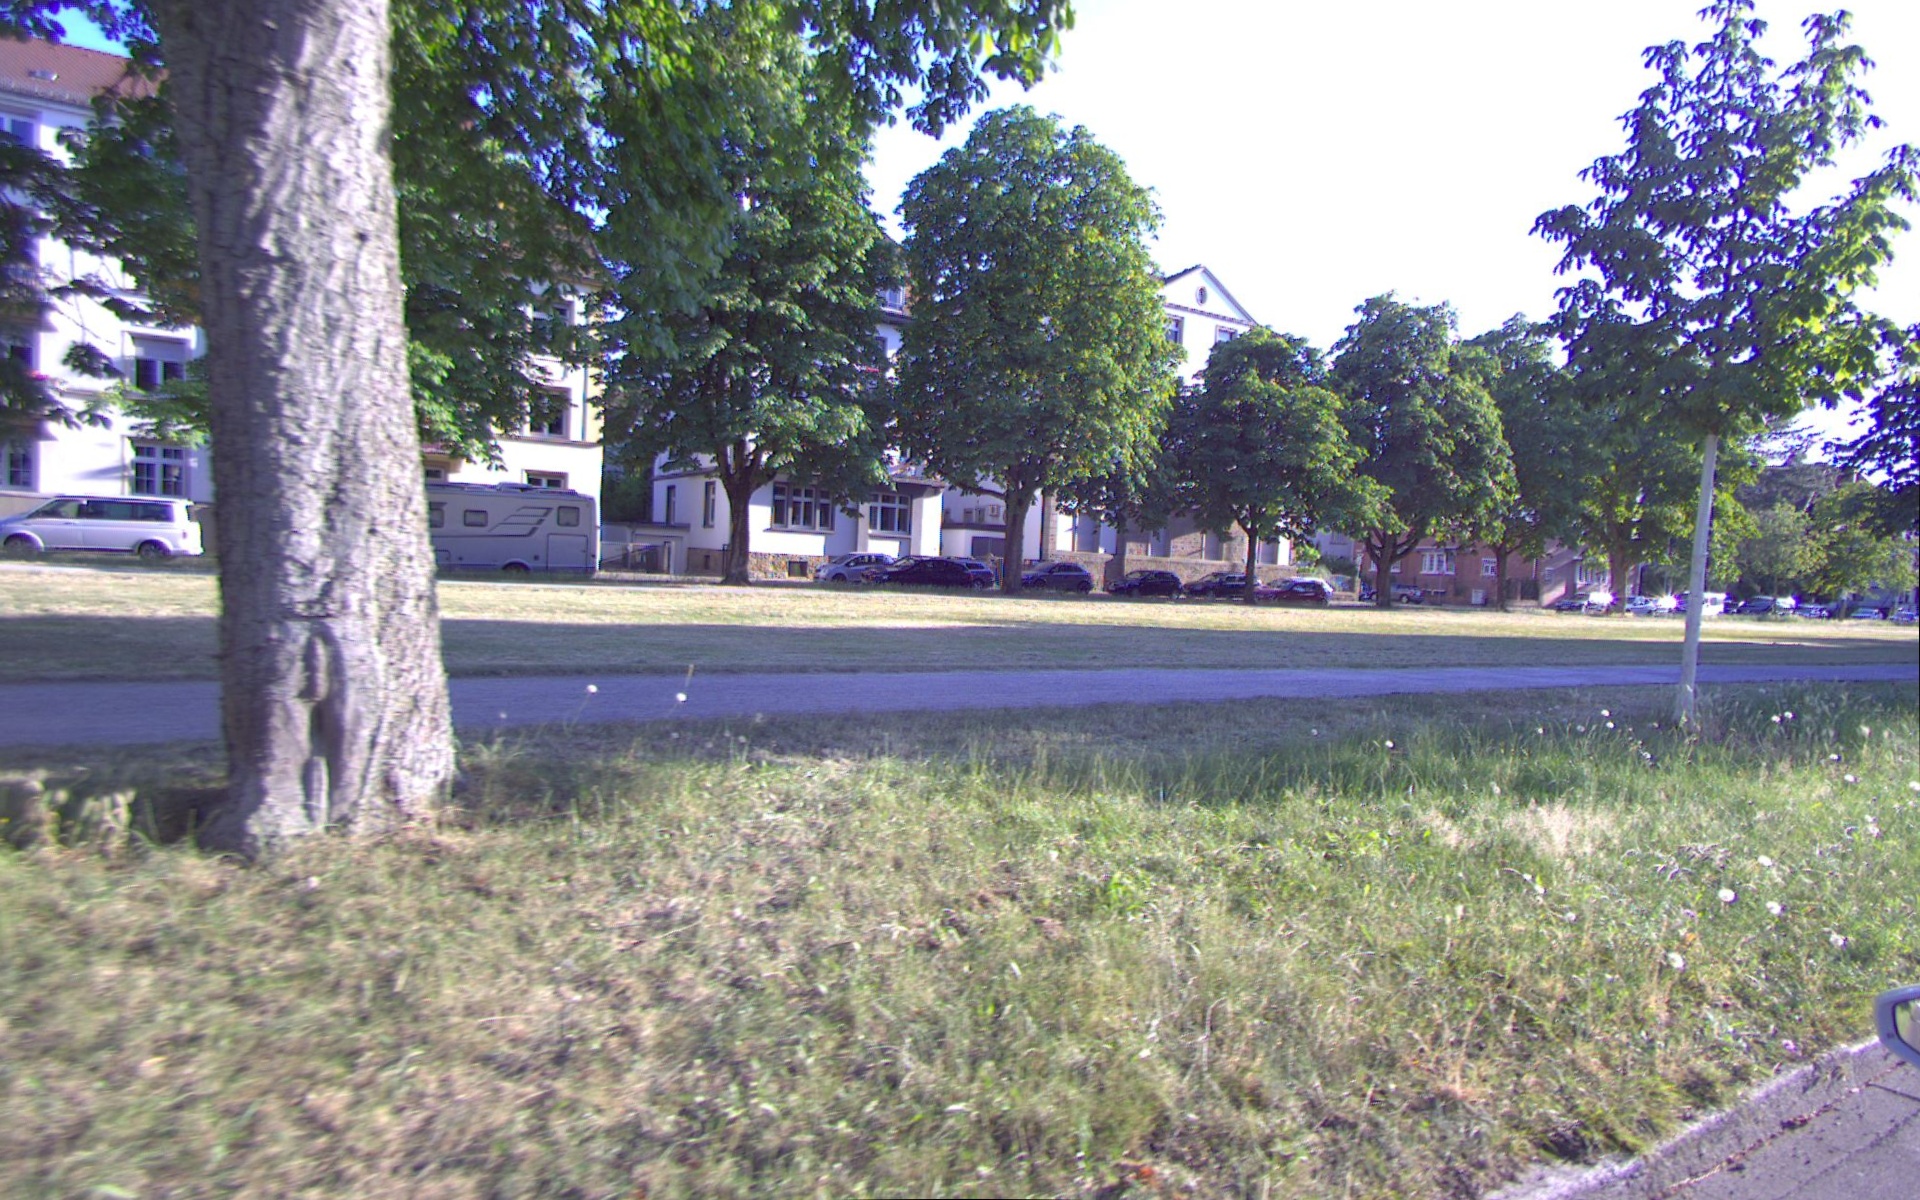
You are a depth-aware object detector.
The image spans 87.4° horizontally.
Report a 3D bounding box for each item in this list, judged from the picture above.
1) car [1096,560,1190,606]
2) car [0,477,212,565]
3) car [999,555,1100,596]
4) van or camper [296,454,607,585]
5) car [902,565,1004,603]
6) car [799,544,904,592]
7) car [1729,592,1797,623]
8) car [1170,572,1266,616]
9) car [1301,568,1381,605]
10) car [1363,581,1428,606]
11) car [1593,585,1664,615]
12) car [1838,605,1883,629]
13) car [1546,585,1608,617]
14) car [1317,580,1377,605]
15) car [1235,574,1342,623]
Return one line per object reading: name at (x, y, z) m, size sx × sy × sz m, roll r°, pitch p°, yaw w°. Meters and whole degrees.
car at (9.279, -0.839, 50.831) m, size 4.380 × 2.041 × 1.983 m, roll 2°, pitch 3°, yaw -32°
car at (-25.697, -2.342, 30.200) m, size 4.816 × 2.232 × 1.985 m, roll 2°, pitch 3°, yaw -29°
car at (4.262, -1.150, 47.715) m, size 4.380 × 1.674 × 1.983 m, roll 2°, pitch 3°, yaw -32°
van or camper at (-14.952, -2.279, 29.983) m, size 7.803 × 3.152 × 3.238 m, roll 2°, pitch 3°, yaw -30°
car at (-0.332, -0.726, 45.320) m, size 4.118 × 1.448 × 1.985 m, roll 2°, pitch 3°, yaw -29°
car at (-4.592, -1.335, 42.515) m, size 3.951 × 1.758 × 1.985 m, roll 2°, pitch 3°, yaw -29°
car at (58.669, 0.551, 73.364) m, size 5.183 × 1.967 × 1.984 m, roll 2°, pitch 3°, yaw -30°
car at (13.736, -0.323, 53.404) m, size 4.816 × 2.041 × 1.985 m, roll 2°, pitch 3°, yaw -29°
car at (26.579, -0.959, 70.204) m, size 1.988 × 1.619 × 4.832 m, roll 25°, pitch -8°, yaw -28°
car at (31.686, -0.485, 73.183) m, size 1.842 × 1.506 × 3.969 m, roll 2°, pitch 3°, yaw -29°
car at (42.150, 0.013, 63.296) m, size 4.596 × 1.661 × 1.810 m, roll 2°, pitch 3°, yaw -31°
car at (86.451, 1.614, 96.409) m, size 3.952 × 2.040 × 2.022 m, roll 3°, pitch 1°, yaw -29°
car at (43.196, 0.102, 70.320) m, size 4.316 × 2.041 × 1.748 m, roll 2°, pitch 3°, yaw -30°
car at (29.576, -0.596, 76.850) m, size 1.814 × 1.595 × 3.877 m, roll 2°, pitch 3°, yaw -30°
car at (15.683, -0.080, 47.924) m, size 4.816 × 2.041 × 1.985 m, roll 2°, pitch 3°, yaw -29°
